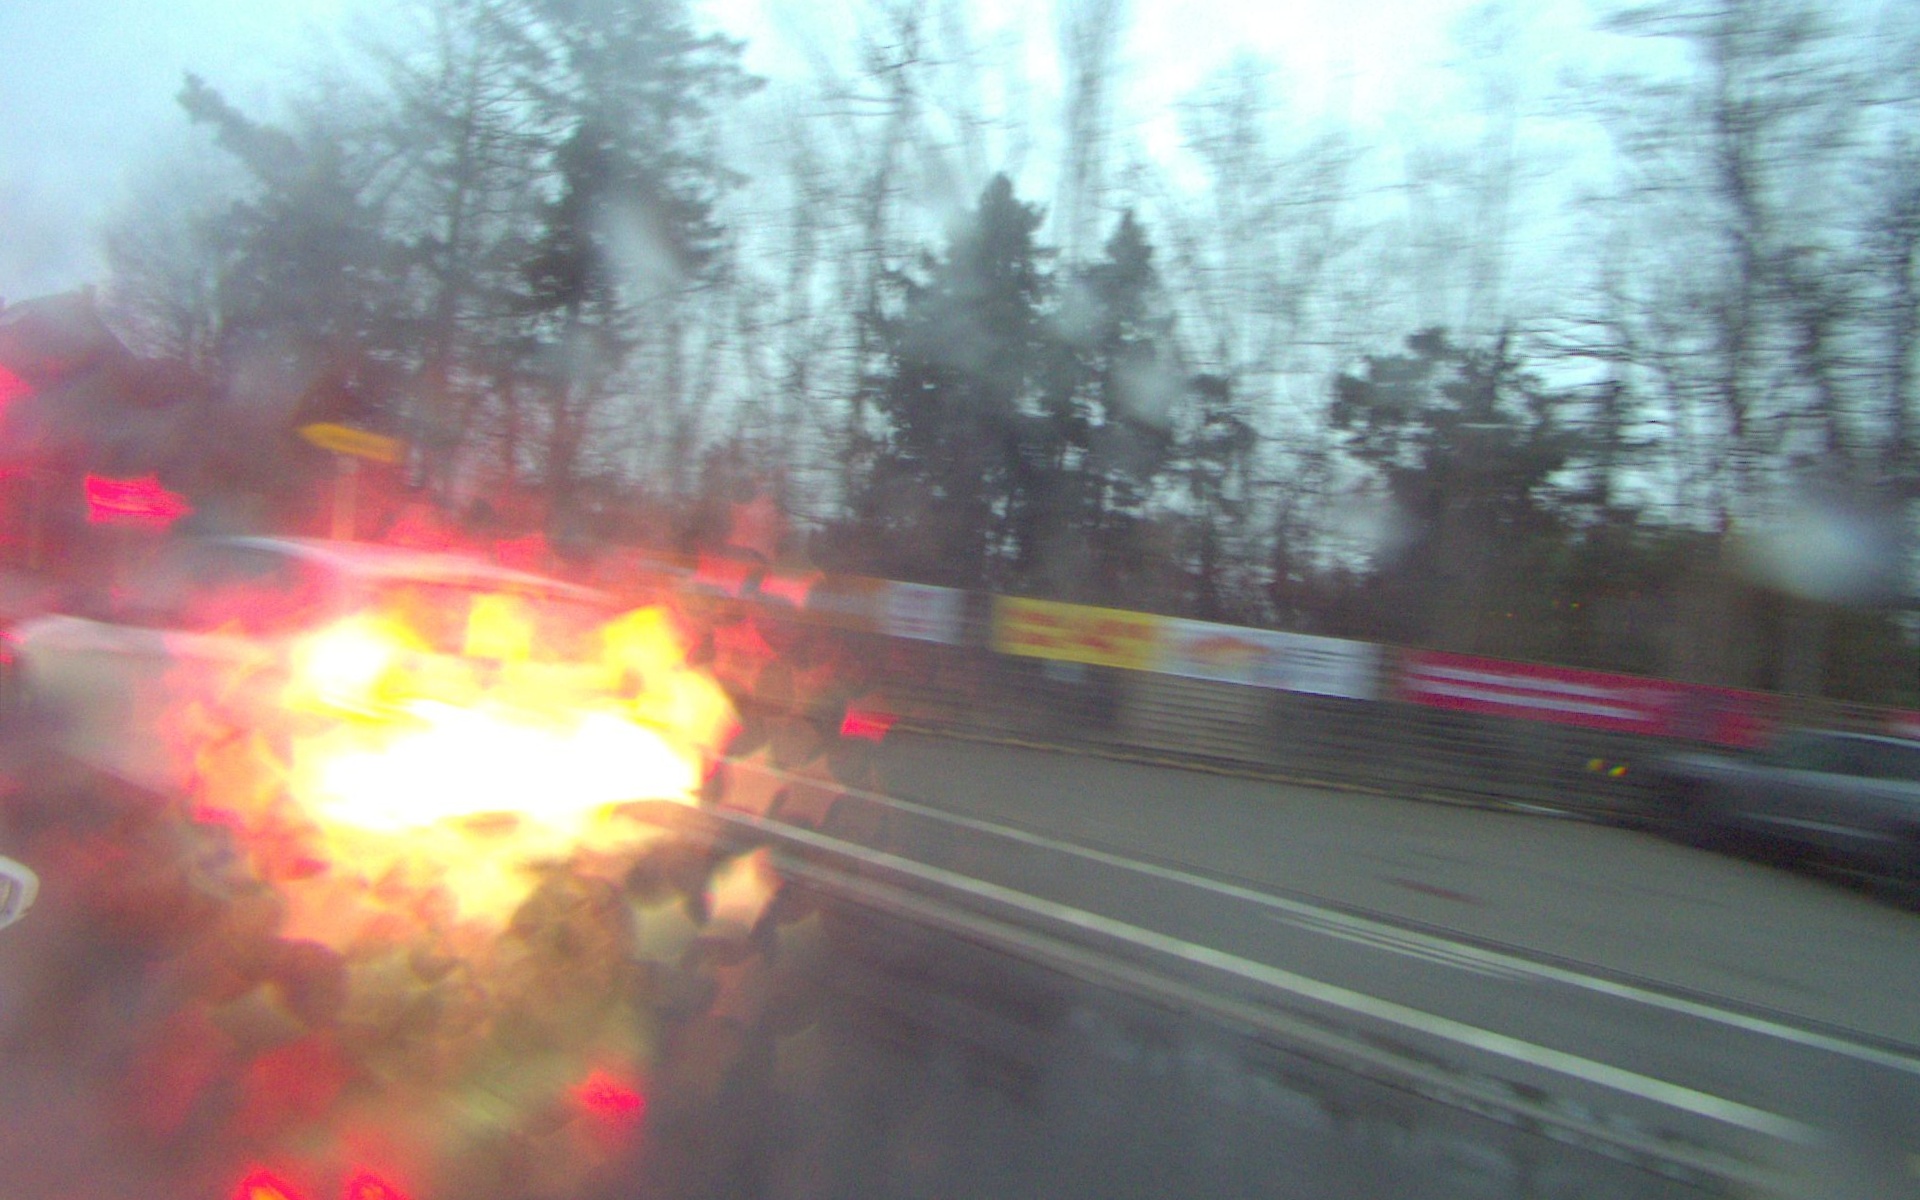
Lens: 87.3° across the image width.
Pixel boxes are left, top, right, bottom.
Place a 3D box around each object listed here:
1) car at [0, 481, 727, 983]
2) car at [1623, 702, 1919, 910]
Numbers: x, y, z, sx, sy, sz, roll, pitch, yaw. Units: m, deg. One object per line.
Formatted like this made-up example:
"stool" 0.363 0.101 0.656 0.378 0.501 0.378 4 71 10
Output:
"car" -3.498 0.375 5.322 4.391 1.594 1.710 6 -1 33
"car" 9.863 2.227 10.710 1.987 1.627 4.475 7 -1 -11
